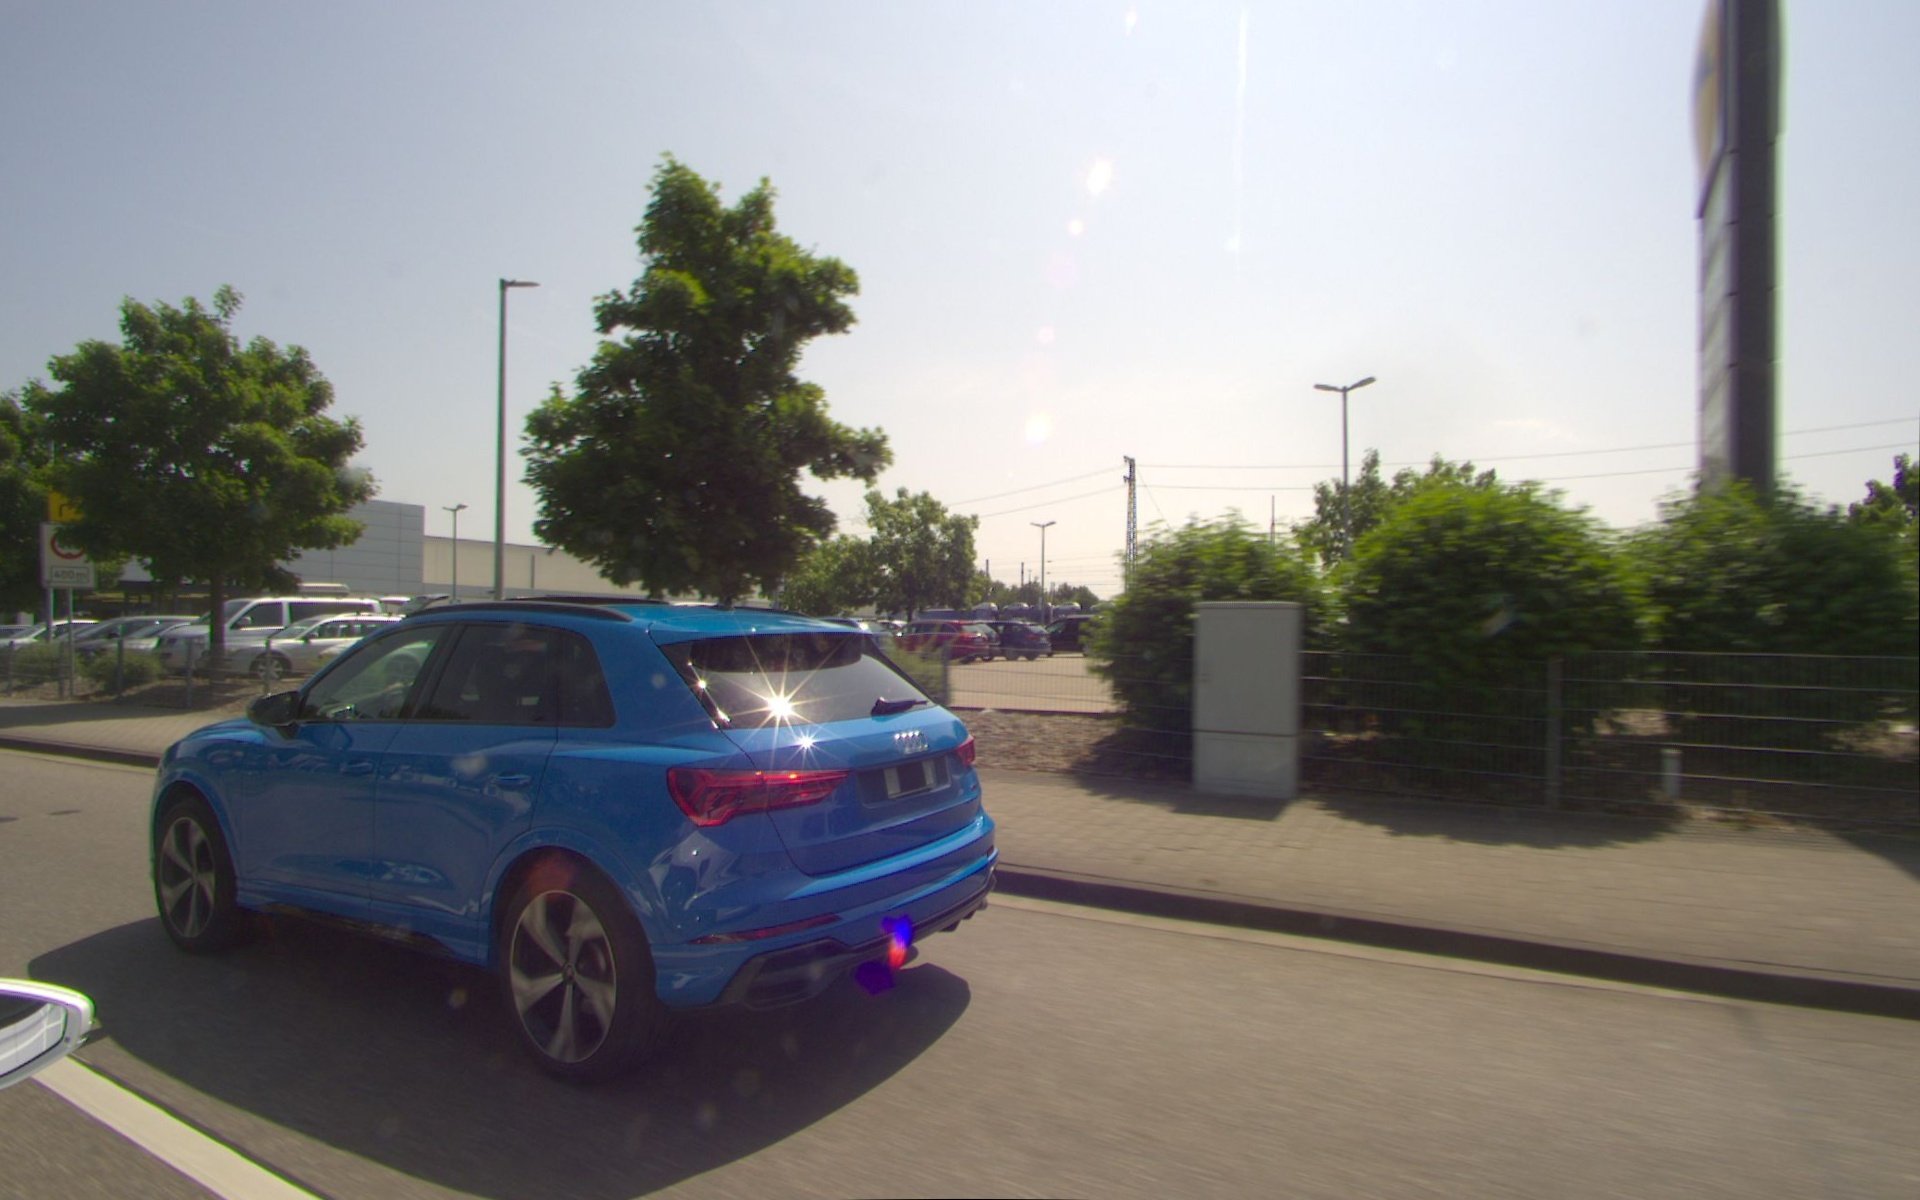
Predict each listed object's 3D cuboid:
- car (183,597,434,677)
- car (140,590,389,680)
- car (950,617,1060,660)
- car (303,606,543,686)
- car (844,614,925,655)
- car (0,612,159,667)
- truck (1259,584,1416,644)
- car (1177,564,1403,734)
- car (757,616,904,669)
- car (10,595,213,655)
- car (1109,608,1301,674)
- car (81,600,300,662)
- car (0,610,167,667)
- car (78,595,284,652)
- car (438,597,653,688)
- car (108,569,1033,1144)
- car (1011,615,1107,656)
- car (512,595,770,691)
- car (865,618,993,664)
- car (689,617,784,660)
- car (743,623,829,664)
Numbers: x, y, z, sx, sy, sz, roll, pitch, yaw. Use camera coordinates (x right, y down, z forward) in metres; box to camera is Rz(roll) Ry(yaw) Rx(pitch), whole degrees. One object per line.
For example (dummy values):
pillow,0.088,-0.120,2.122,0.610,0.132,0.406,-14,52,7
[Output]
car,-14.417,0.842,22.423,1.801,1.613,4.361,-1,-2,32
car,-16.656,0.862,24.256,1.799,1.949,4.613,-1,-2,30
car,1.686,1.443,37.587,3.718,1.527,1.778,-1,-1,30
car,-10.658,0.912,20.171,1.672,1.439,3.993,-1,-2,29
car,-3.220,1.444,42.546,3.241,1.694,1.324,-1,-1,29
car,-27.919,1.259,31.397,1.797,1.616,3.989,-1,-3,26
truck,26.092,1.026,69.521,9.889,3.888,2.845,-1,-1,32
car,3.947,0.541,11.426,1.672,1.524,4.574,-1,-2,29
car,-3.719,1.182,28.731,3.939,1.438,1.727,-1,-1,29
car,-23.717,0.746,28.135,1.800,1.553,3.984,-2,-3,30
car,5.660,0.943,23.248,4.020,1.412,1.733,-2,-1,30
car,-19.201,0.803,25.169,1.799,1.407,3.984,-1,-2,30
car,-26.299,1.165,29.706,1.797,1.553,3.990,-2,-3,24
car,-20.809,0.678,26.910,1.799,1.407,3.984,-1,-2,30
car,-7.807,0.808,19.199,1.695,1.556,3.591,0,-2,26
car,-1.977,0.759,4.698,4.285,1.613,1.806,-1,0,31
car,4.295,1.523,43.578,3.804,1.705,1.777,-1,-2,34
car,-5.345,0.735,17.307,1.673,1.439,4.164,-1,-2,32
car,-1.028,1.337,33.272,3.939,1.438,1.727,-1,-1,29
car,-7.789,1.326,34.833,3.203,1.438,1.263,-1,-1,29
car,-6.322,1.568,36.346,2.912,1.438,1.263,-1,-1,29
